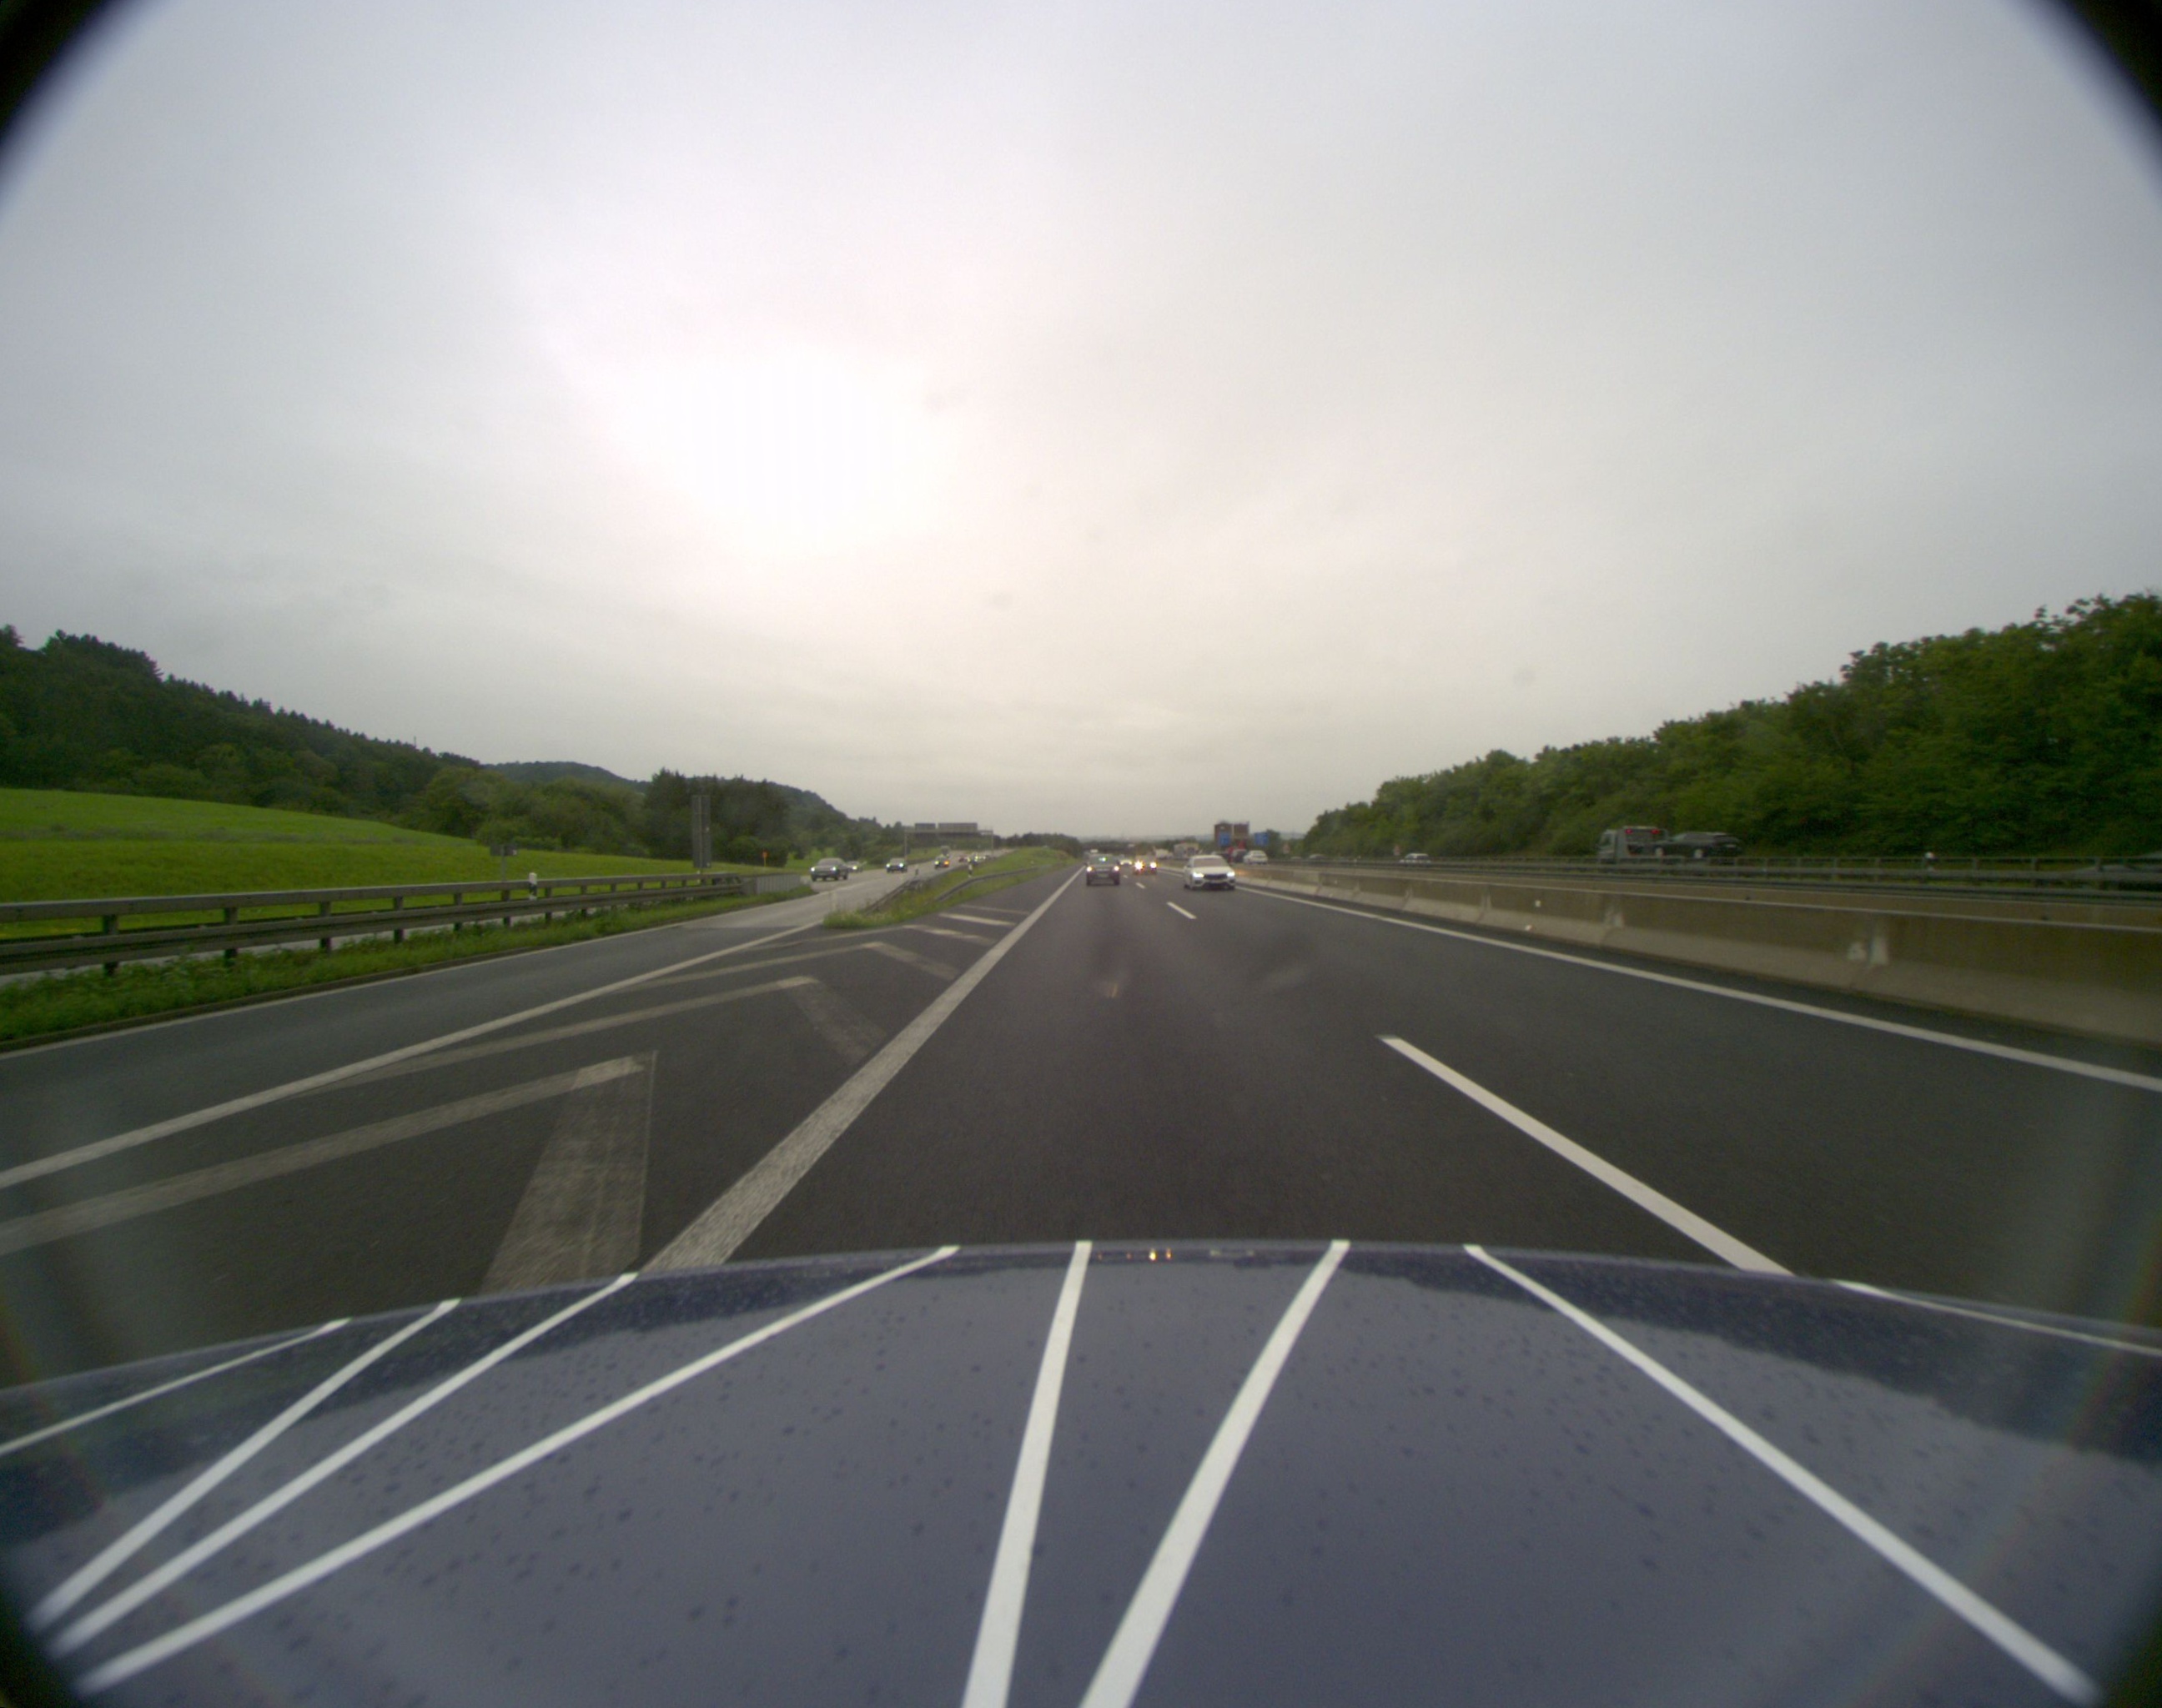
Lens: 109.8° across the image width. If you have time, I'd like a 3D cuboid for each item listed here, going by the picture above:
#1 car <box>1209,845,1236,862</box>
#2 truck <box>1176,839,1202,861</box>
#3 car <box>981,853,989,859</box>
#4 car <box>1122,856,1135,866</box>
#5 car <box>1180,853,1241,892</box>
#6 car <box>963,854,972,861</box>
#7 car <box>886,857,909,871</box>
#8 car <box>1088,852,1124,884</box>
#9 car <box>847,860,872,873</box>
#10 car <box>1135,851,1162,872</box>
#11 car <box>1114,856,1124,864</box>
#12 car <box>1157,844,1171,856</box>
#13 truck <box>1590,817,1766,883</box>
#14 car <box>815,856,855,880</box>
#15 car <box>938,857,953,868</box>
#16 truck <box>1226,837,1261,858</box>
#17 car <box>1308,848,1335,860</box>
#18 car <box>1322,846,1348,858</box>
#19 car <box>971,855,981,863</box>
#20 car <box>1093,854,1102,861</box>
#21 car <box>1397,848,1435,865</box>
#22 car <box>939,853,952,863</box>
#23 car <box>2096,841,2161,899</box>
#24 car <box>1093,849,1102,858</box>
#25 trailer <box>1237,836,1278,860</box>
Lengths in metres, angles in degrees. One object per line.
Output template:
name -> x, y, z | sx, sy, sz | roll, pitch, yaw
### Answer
car -> 15.060, -0.048, 81.029 | 1.874, 1.672, 4.777 | -2, 1, 0
truck -> 20.649, -0.861, 146.475 | 2.933, 3.855, 16.089 | -2, 1, 1
car -> -27.587, 0.628, 218.714 | 1.914, 1.684, 4.716 | -2, 1, -5
car -> 7.228, 1.038, 116.531 | 1.726, 1.481, 4.566 | -2, 1, 1
car -> 5.538, 0.747, 33.060 | 1.823, 1.448, 4.777 | -2, 1, 0
car -> -28.299, 0.780, 188.928 | 1.914, 1.684, 4.716 | -2, 1, -5
car -> -20.508, 1.115, 85.178 | 1.671, 1.375, 4.124 | -3, 1, -2
car -> 1.357, 0.737, 41.335 | 1.812, 1.571, 3.835 | -2, 1, 2
car -> -27.540, 1.522, 94.521 | 1.904, 1.446, 4.708 | -2, 1, -4
car -> 5.387, 0.581, 61.492 | 1.726, 1.481, 4.566 | -2, 1, 0
car -> 7.503, 1.139, 149.602 | 1.726, 1.481, 4.566 | -2, 1, 0
car -> 16.583, -0.752, 152.006 | 2.135, 2.309, 5.691 | -2, 1, 0
truck -> 33.033, -0.254, 42.677 | 2.858, 3.202, 9.078 | -2, 1, 1
car -> -18.138, 0.983, 56.261 | 1.775, 1.600, 4.640 | -2, 1, -5
car -> -19.293, 1.189, 108.233 | 1.868, 1.349, 4.564 | -2, 1, -7
truck -> 18.770, -0.757, 88.123 | 2.582, 2.327, 7.341 | -2, 1, 1
car -> 30.021, -0.041, 94.939 | 1.770, 1.403, 4.777 | -2, 1, 0
car -> 33.716, -0.265, 101.024 | 1.823, 1.448, 4.777 | -2, 1, 0
car -> -23.365, 1.132, 169.802 | 1.914, 1.684, 4.716 | -2, 1, -5
car -> 3.897, 0.881, 178.002 | 1.919, 1.481, 4.566 | -2, 1, 0
car -> 33.908, 0.231, 77.099 | 1.662, 1.572, 4.777 | -2, 1, 0
car -> -24.914, 0.727, 139.710 | 1.914, 1.684, 4.716 | -2, 1, -4
car -> 28.665, 0.422, 18.842 | 1.680, 1.448, 4.000 | -2, 1, 1
car -> 4.034, -0.176, 183.601 | 2.016, 1.994, 4.566 | -2, 1, 0
trailer -> 18.596, -0.673, 80.613 | 2.582, 2.327, 7.946 | -2, 1, 1
